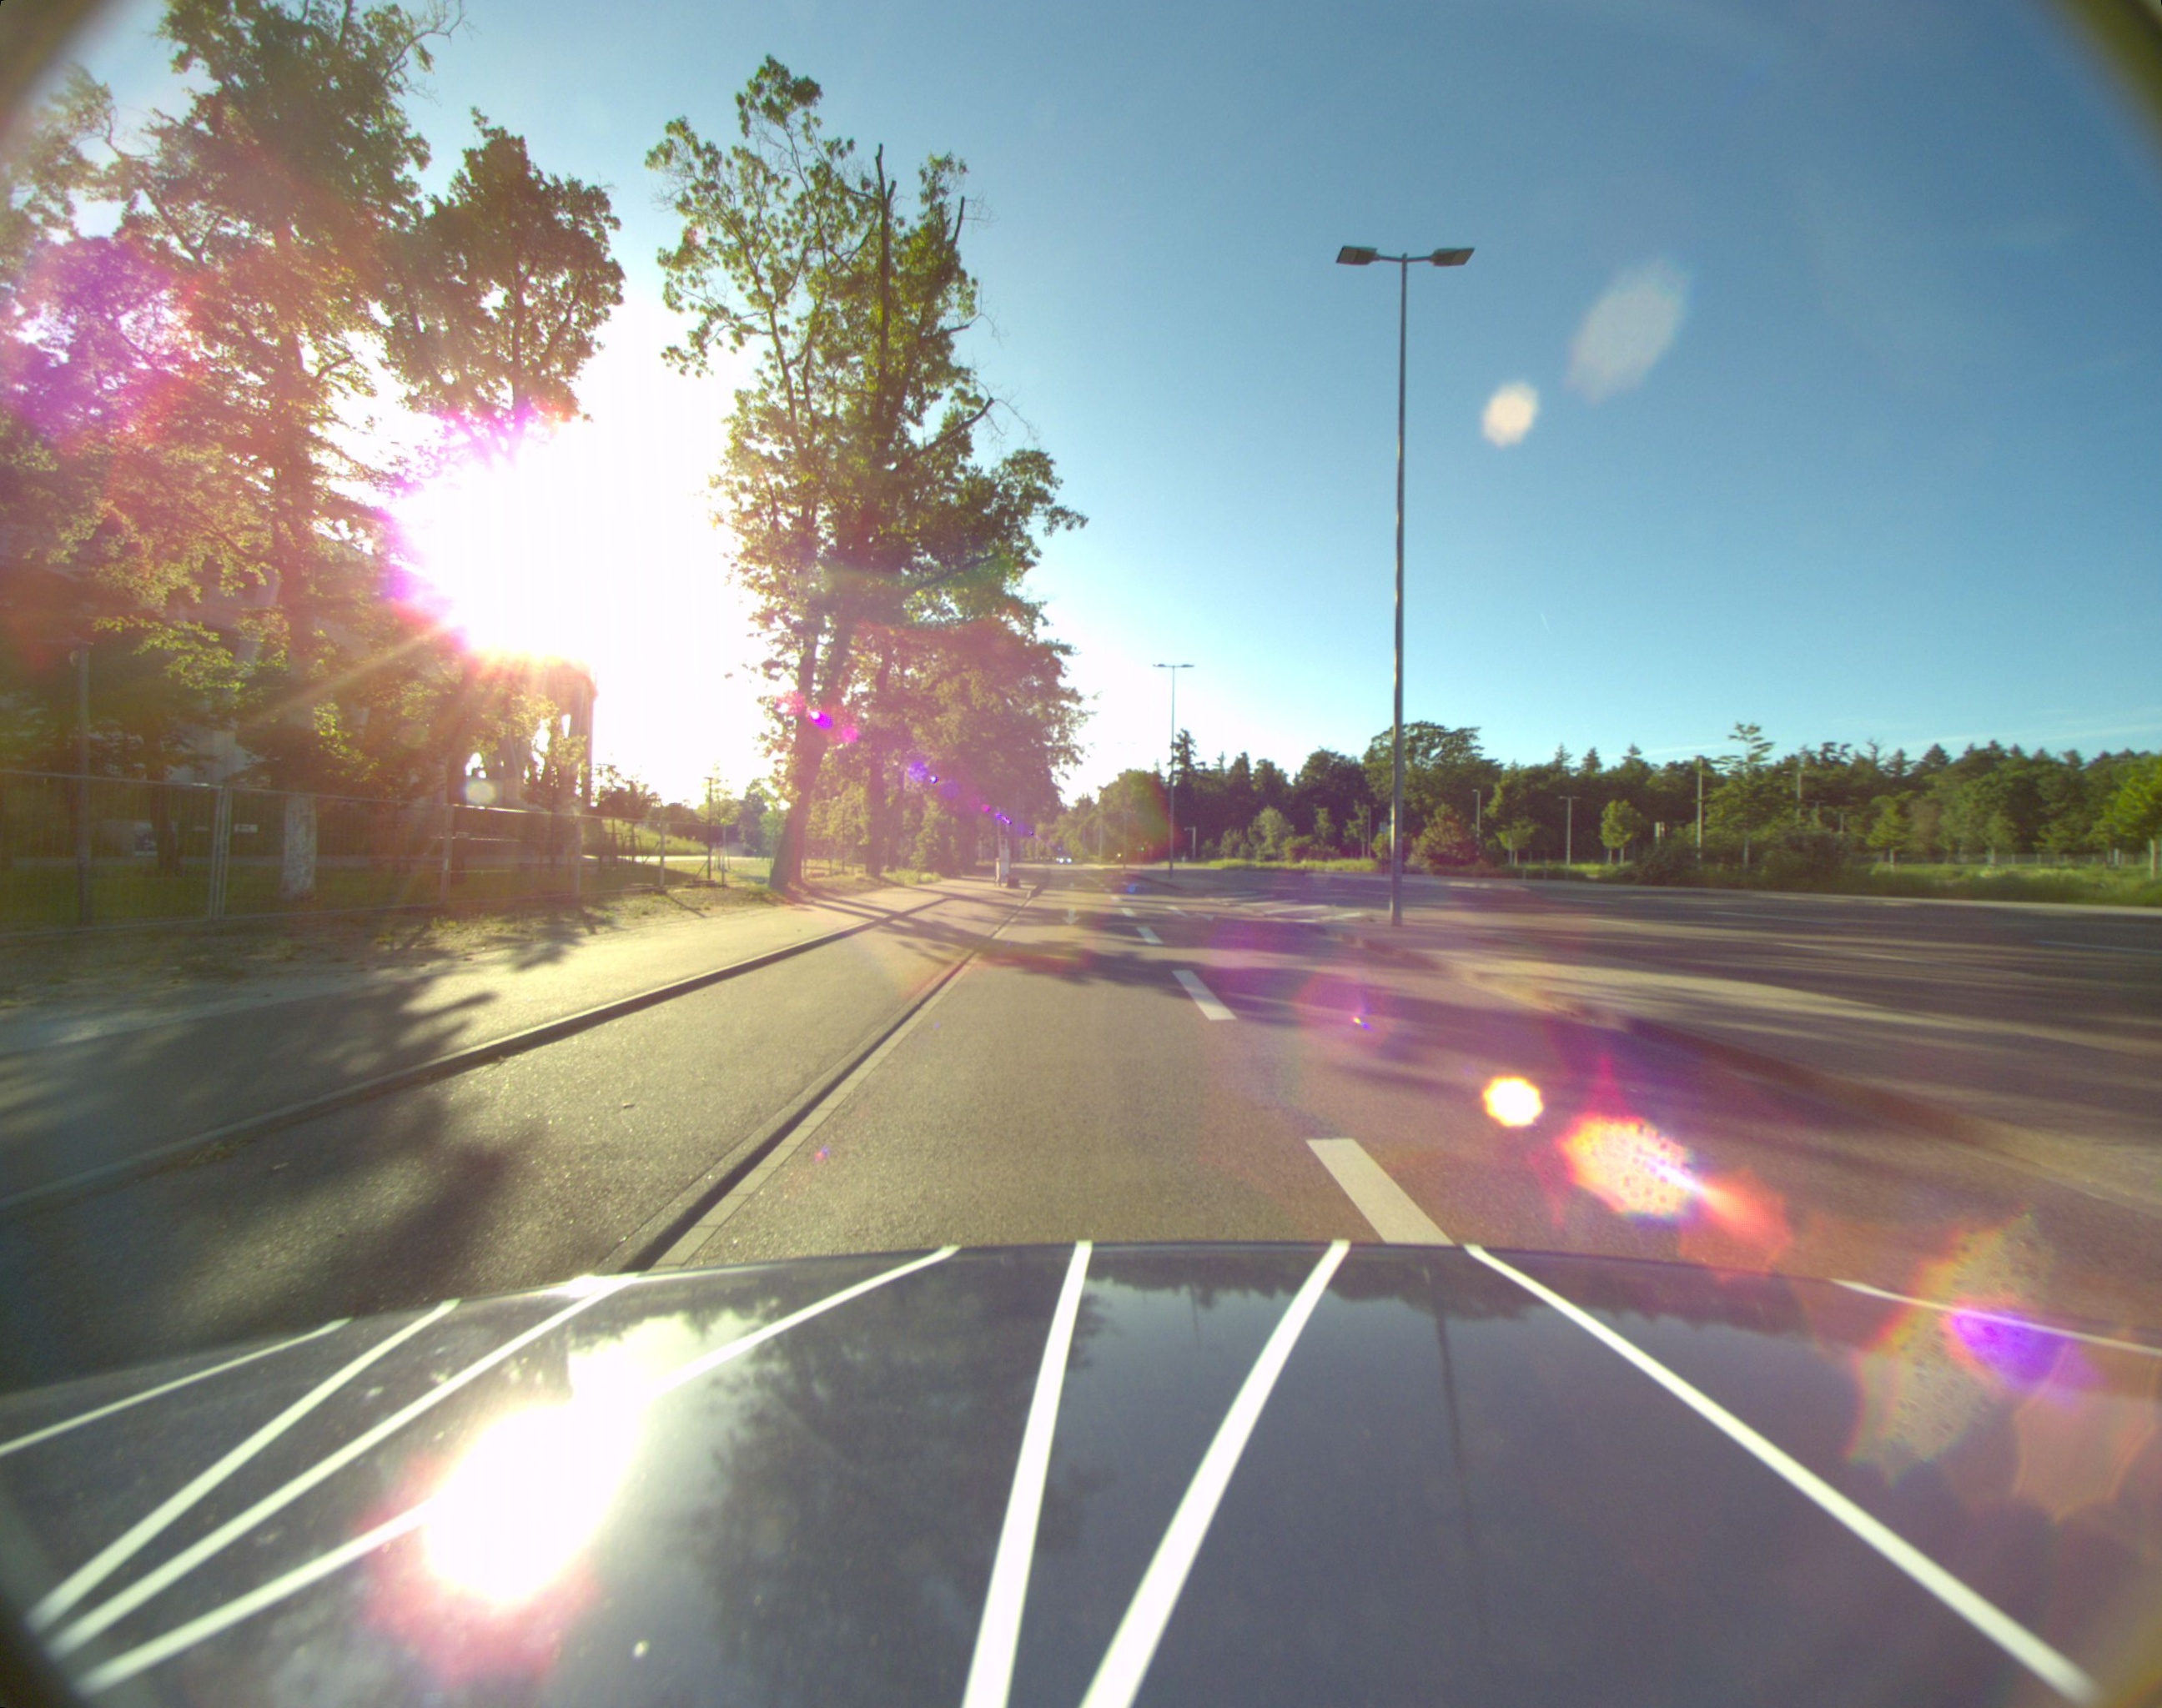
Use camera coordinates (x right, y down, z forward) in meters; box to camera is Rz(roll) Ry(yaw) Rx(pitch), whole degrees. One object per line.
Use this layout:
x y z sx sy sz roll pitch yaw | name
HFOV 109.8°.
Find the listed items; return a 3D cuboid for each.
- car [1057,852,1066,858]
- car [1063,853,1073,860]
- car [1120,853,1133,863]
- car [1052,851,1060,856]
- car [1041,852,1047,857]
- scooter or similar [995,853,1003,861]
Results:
-4.571 0.233 173.667 1.841 1.395 4.990 -1 0 -3 | car
-2.461 0.476 143.786 1.841 1.395 3.999 -1 0 -2 | car
7.736 0.670 129.691 1.788 1.682 4.701 -1 0 -2 | car
-7.032 -0.045 212.041 1.842 1.395 4.989 1 0 -4 | car
-11.803 0.165 241.151 1.842 1.395 4.989 -1 0 -4 | car
-12.447 0.400 115.354 1.303 1.230 0.334 0 0 -37 | scooter or similar
